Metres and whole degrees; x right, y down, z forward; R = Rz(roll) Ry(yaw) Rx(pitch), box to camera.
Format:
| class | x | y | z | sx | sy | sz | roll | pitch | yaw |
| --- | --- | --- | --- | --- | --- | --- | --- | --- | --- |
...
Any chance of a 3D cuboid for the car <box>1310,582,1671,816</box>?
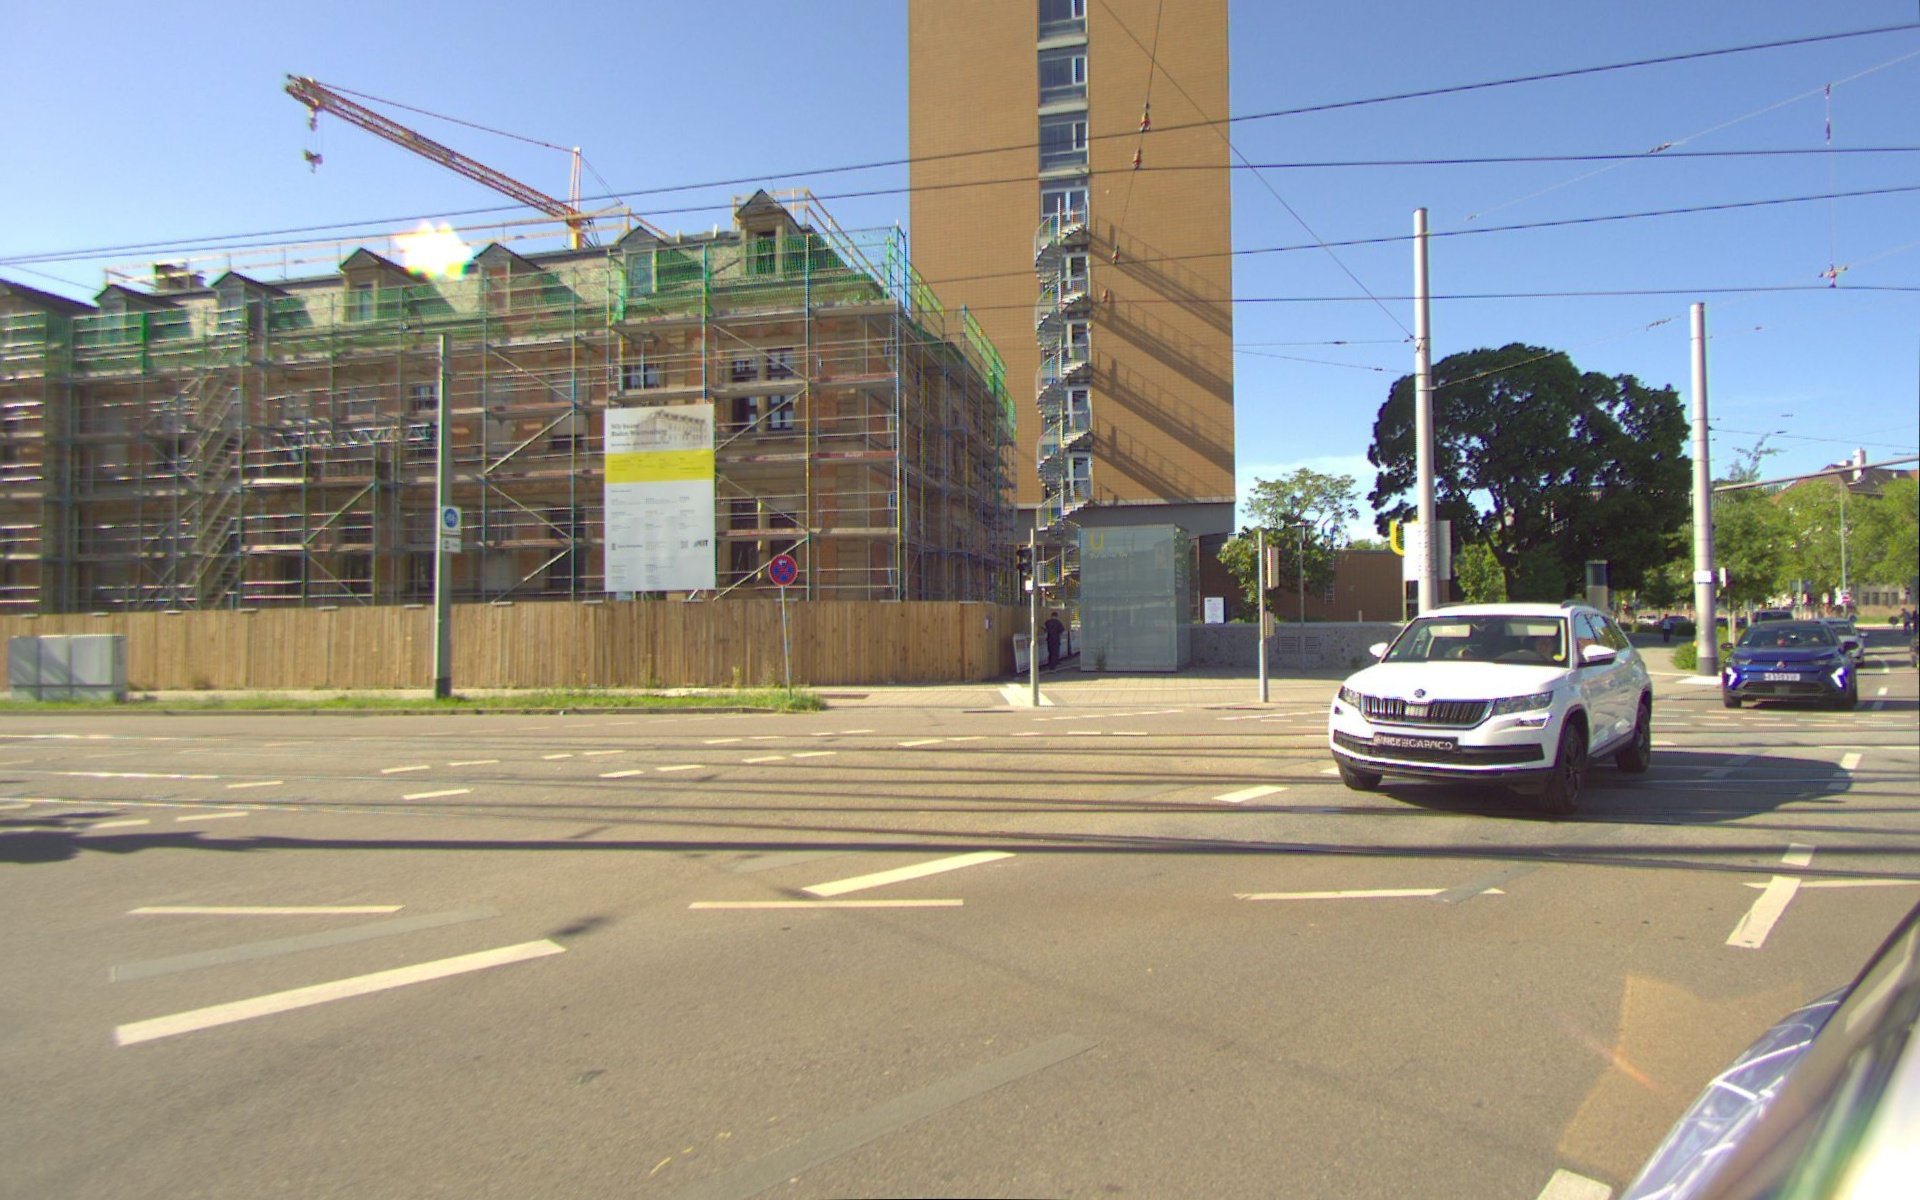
| class | x | y | z | sx | sy | sz | roll | pitch | yaw |
| --- | --- | --- | --- | --- | --- | --- | --- | --- | --- |
| car | 5.101 | 0.756 | 9.428 | 1.863 | 1.666 | 4.327 | -2 | -2 | 44 |

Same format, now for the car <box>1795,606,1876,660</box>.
| class | x | y | z | sx | sy | sz | roll | pitch | yaw |
| --- | --- | --- | --- | --- | --- | --- | --- | --- | --- |
| car | 29.381 | 1.081 | 33.923 | 1.880 | 1.651 | 3.950 | -4 | -3 | 42 |

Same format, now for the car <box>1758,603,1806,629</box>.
| class | x | y | z | sx | sy | sz | roll | pitch | yaw |
| --- | --- | --- | --- | --- | --- | --- | --- | --- | --- |
| car | 51.347 | 1.009 | 63.308 | 1.909 | 1.477 | 4.609 | -4 | -3 | 35 |

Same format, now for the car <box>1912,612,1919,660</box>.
| class | x | y | z | sx | sy | sz | roll | pitch | yaw |
| --- | --- | --- | --- | --- | --- | --- | --- | --- | --- |
| car | 29.778 | 1.050 | 29.988 | 1.912 | 1.477 | 3.811 | -4 | -3 | 39 |

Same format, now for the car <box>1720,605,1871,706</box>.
| class | x | y | z | sx | sy | sz | roll | pitch | yaw |
| --- | --- | --- | --- | --- | --- | --- | --- | --- | --- |
| car | 15.518 | 0.960 | 18.730 | 1.880 | 1.651 | 3.950 | -4 | -3 | 42 |

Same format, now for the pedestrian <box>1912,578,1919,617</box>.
| class | x | y | z | sx | sy | sz | roll | pitch | yaw |
| --- | --- | --- | --- | --- | --- | --- | --- | --- | --- |
| pedestrian | 62.285 | -0.169 | 65.360 | 0.870 | 2.467 | 0.878 | -4 | -3 | 37 |

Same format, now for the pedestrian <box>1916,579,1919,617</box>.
| class | x | y | z | sx | sy | sz | roll | pitch | yaw |
| --- | --- | --- | --- | --- | --- | --- | --- | --- | --- |
| pedestrian | 61.708 | -0.159 | 64.528 | 0.870 | 2.452 | 0.878 | -4 | -3 | 37 |

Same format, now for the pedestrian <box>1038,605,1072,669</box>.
| class | x | y | z | sx | sy | sz | roll | pitch | yaw |
| --- | --- | --- | --- | --- | --- | --- | --- | --- | --- |
| pedestrian | 2.776 | 1.080 | 29.457 | 0.766 | 1.811 | 0.826 | -3 | -3 | 17 |
